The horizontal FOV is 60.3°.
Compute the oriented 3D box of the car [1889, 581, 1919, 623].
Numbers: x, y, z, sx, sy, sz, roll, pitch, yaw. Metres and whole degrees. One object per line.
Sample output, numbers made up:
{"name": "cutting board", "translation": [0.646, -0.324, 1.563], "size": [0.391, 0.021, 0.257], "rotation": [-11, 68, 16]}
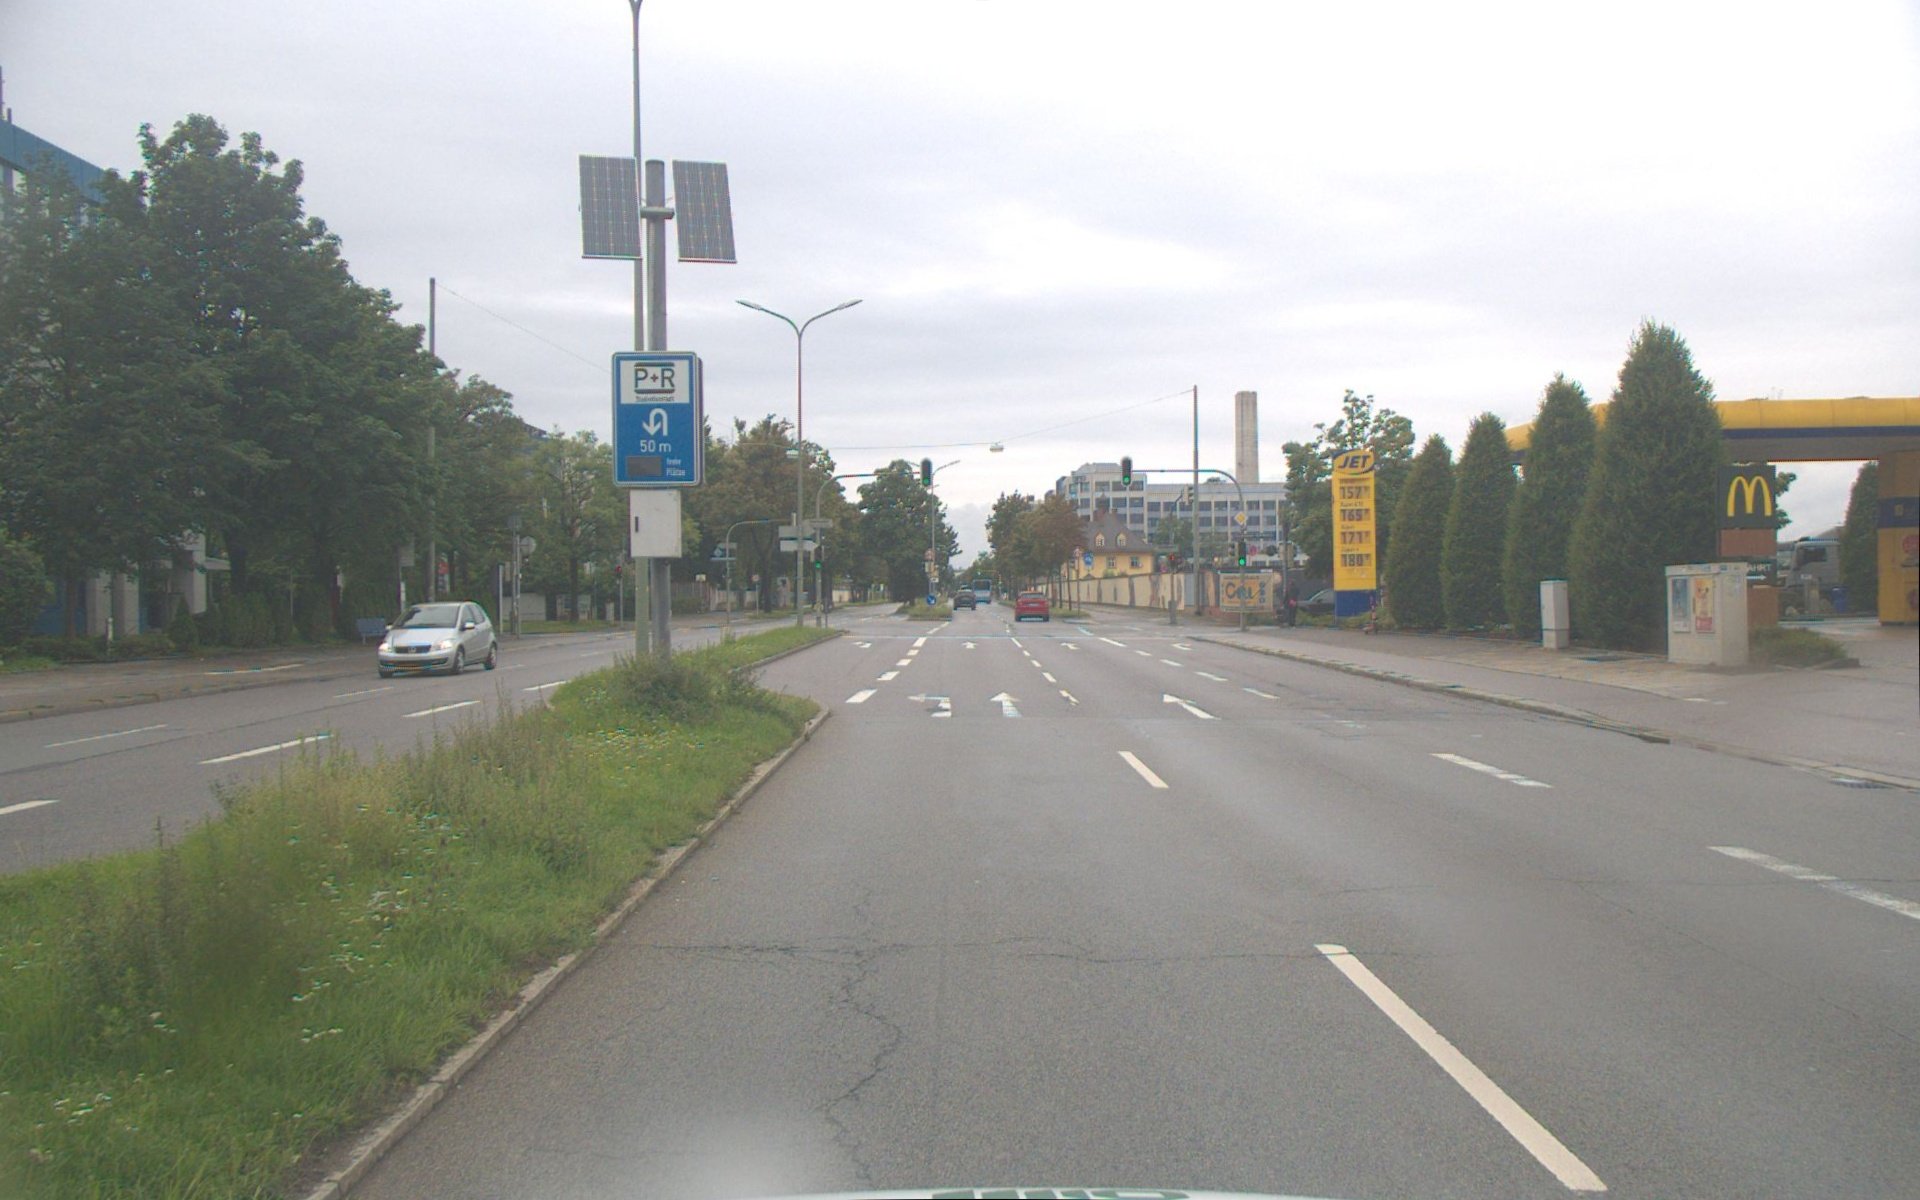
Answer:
{"name": "car", "translation": [35.254, 0.091, 58.977], "size": [1.864, 1.504, 4.192], "rotation": [0, 0, -1]}

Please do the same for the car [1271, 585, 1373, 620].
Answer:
{"name": "car", "translation": [16.136, 0.093, 73.913], "size": [4.162, 1.453, 2.001], "rotation": [-1, 0, 2]}

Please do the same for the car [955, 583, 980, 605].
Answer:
{"name": "car", "translation": [0.602, -0.521, 141.961], "size": [2.042, 1.898, 4.385], "rotation": [0, 0, -1]}

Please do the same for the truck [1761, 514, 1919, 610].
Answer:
{"name": "truck", "translation": [41.008, -1.682, 71.200], "size": [11.650, 3.923, 2.611], "rotation": [-1, 0, 2]}

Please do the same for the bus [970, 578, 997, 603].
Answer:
{"name": "bus", "translation": [3.107, -1.247, 220.662], "size": [3.155, 3.181, 10.342], "rotation": [0, 0, -1]}

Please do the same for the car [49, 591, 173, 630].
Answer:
{"name": "car", "translation": [-32.396, 0.377, 63.133], "size": [4.075, 1.443, 1.871], "rotation": [0, 0, 17]}

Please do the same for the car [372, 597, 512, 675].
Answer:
{"name": "car", "translation": [-11.592, 0.764, 37.305], "size": [1.777, 1.585, 4.027], "rotation": [-2, 0, 1]}

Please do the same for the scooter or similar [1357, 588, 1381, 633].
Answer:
{"name": "scooter or similar", "translation": [11.857, 0.292, 48.013], "size": [0.348, 1.264, 1.546], "rotation": [-3, 0, 4]}

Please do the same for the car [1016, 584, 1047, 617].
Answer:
{"name": "car", "translation": [3.848, 0.007, 89.764], "size": [1.454, 1.745, 3.550], "rotation": [0, 0, -1]}

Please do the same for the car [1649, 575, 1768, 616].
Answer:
{"name": "car", "translation": [26.147, -0.159, 57.941], "size": [1.667, 1.408, 4.353], "rotation": [0, 0, -10]}
